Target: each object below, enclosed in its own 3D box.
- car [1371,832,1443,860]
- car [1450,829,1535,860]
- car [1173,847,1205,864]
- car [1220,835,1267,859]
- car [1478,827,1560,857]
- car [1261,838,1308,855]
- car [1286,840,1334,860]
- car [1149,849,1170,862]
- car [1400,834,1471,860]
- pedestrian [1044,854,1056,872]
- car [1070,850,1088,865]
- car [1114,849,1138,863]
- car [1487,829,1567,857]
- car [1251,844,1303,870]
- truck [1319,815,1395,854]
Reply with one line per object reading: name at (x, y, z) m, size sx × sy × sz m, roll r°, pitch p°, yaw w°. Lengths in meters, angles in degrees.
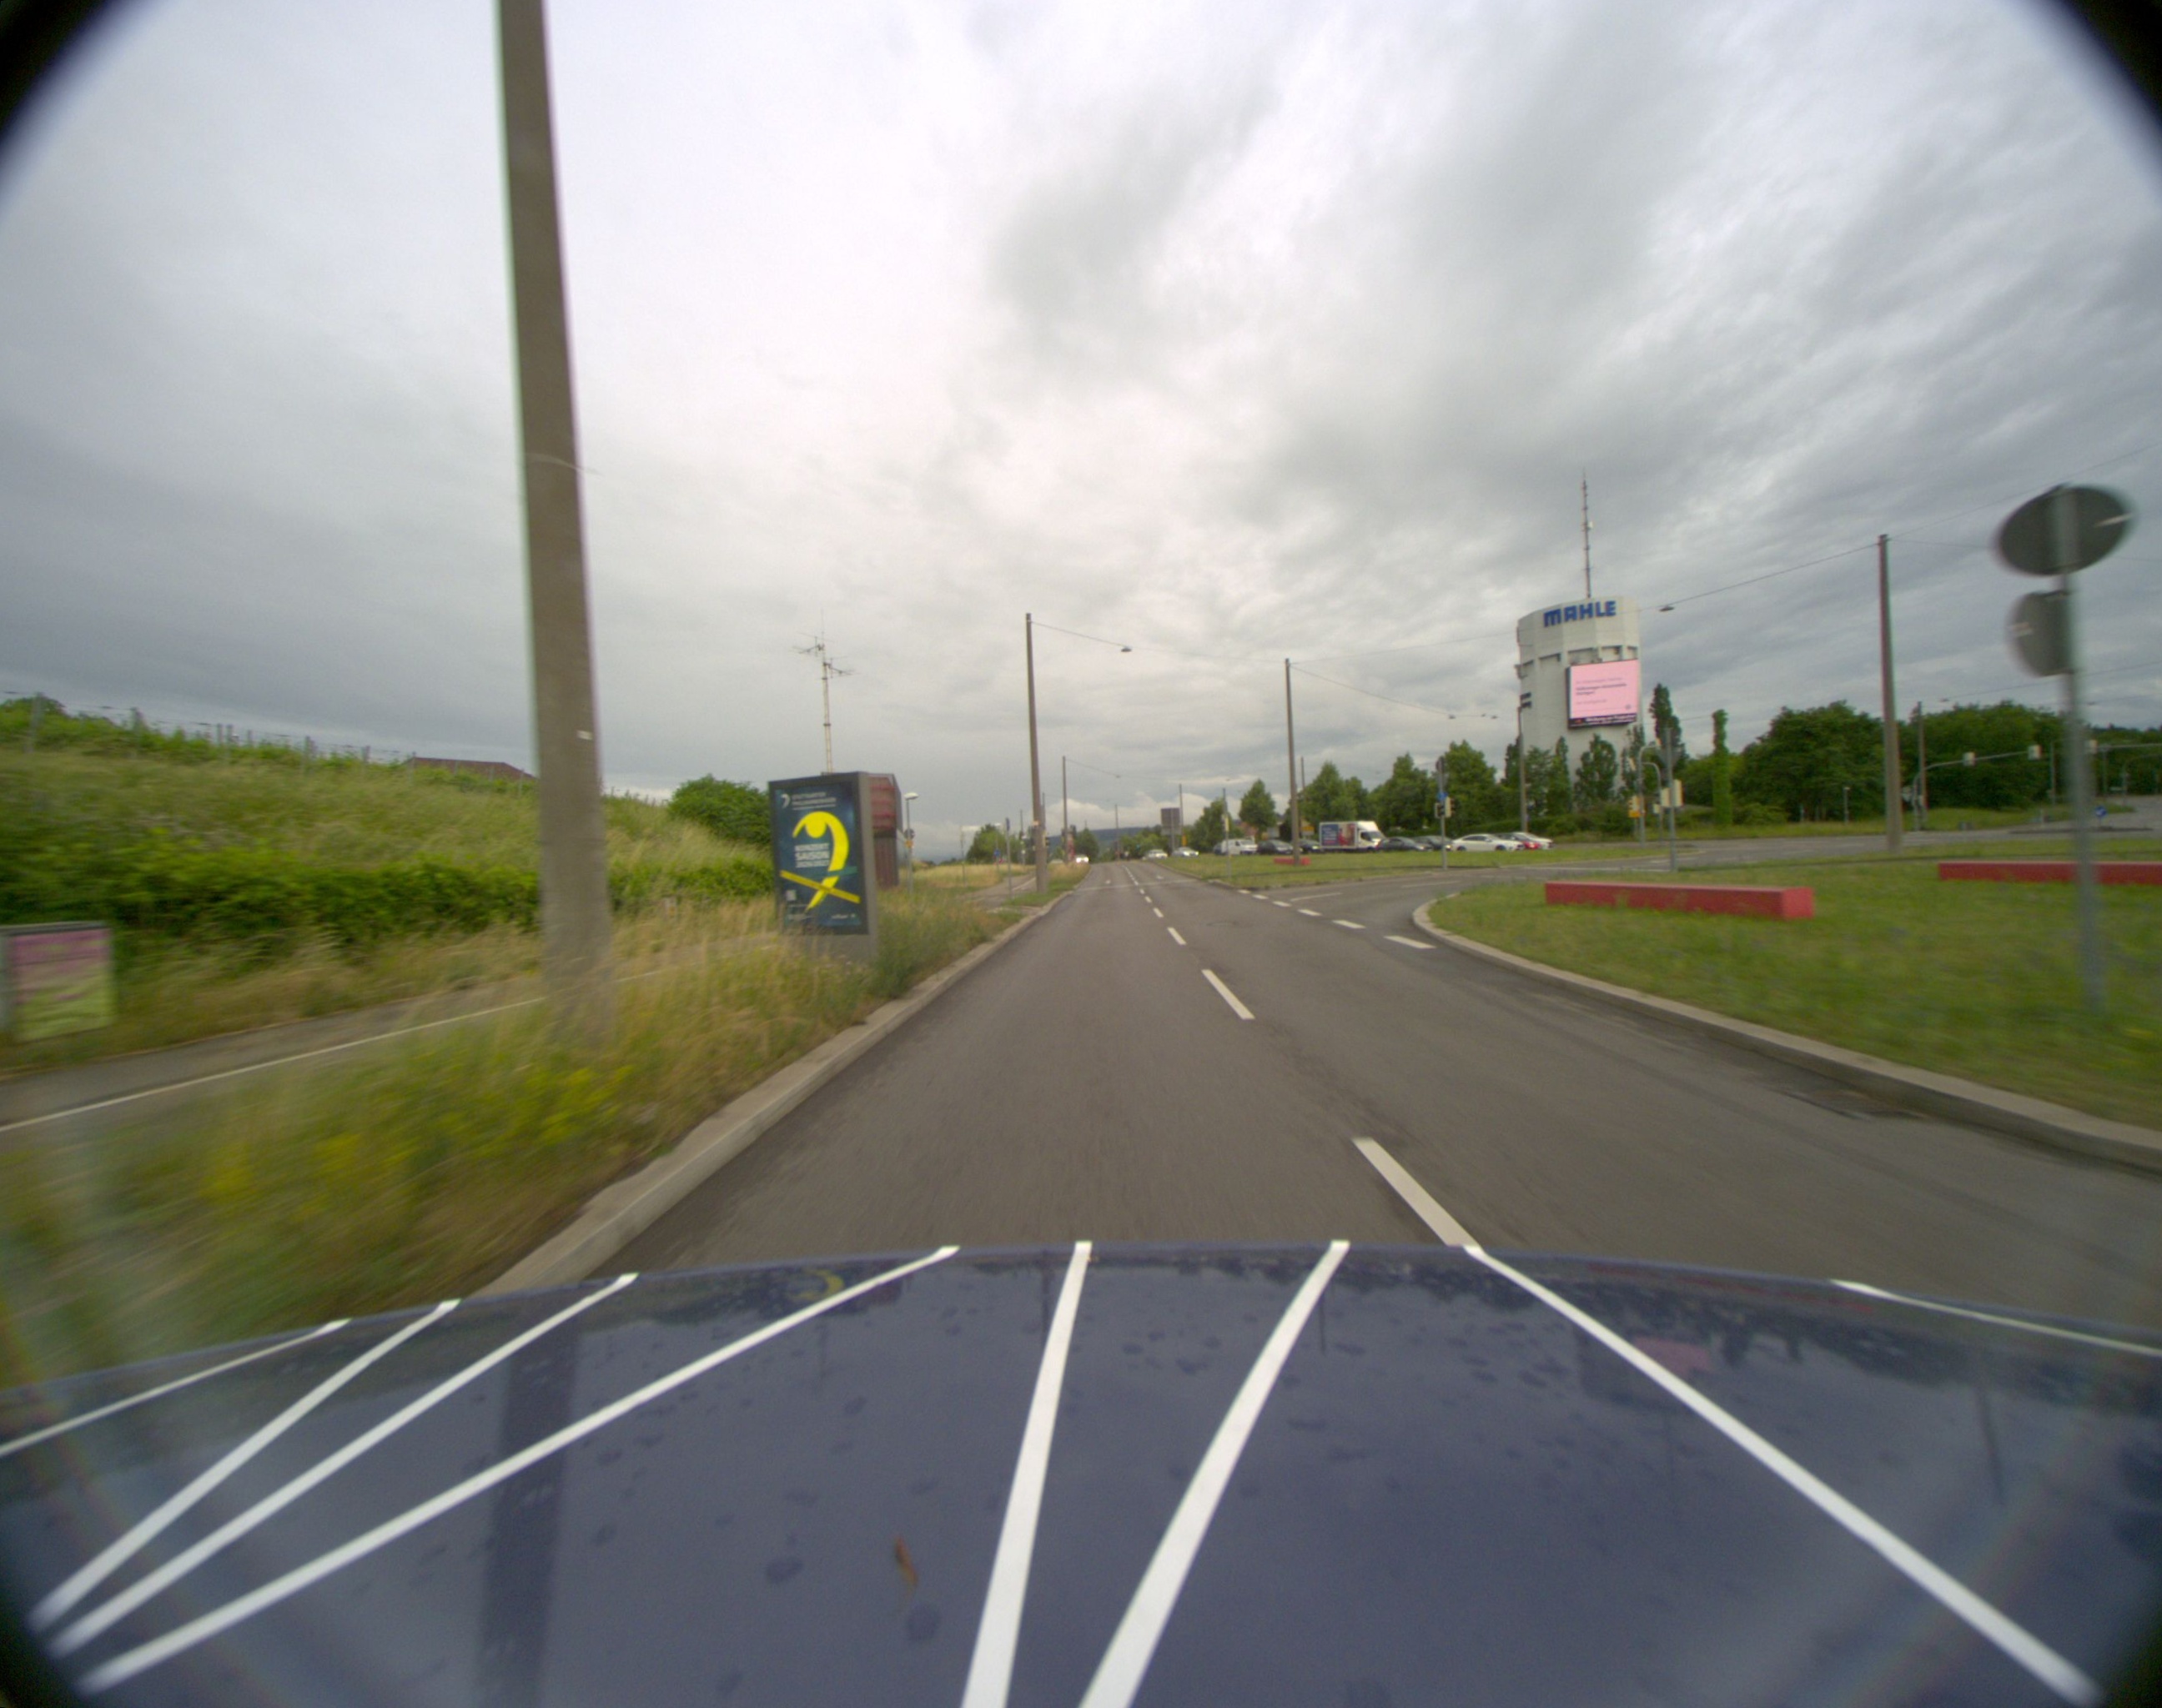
car at (23.924, -0.574, 55.974) m, size 2.002 × 1.673 × 4.512 m, roll -6°, pitch 1°, yaw -28°
car at (27.666, -0.636, 51.215) m, size 2.003 × 1.673 × 4.511 m, roll -6°, pitch 1°, yaw -34°
car at (13.202, 0.211, 93.165) m, size 2.000 × 1.790 × 5.165 m, roll -5°, pitch 0°, yaw -12°
car at (17.157, -0.717, 80.350) m, size 2.376 × 2.168 × 5.301 m, roll -6°, pitch 0°, yaw -18°
car at (30.746, -0.827, 53.468) m, size 2.003 × 1.673 × 4.510 m, roll -6°, pitch 1°, yaw -38°
car at (19.636, -0.698, 73.434) m, size 2.001 × 1.303 × 4.524 m, roll -6°, pitch 0°, yaw -21°
car at (22.414, -0.361, 74.456) m, size 2.001 × 1.673 × 4.514 m, roll -6°, pitch 0°, yaw -21°
car at (12.487, 0.290, 120.852) m, size 2.001 × 1.772 × 3.995 m, roll -5°, pitch 0°, yaw -14°
car at (27.158, -0.500, 58.370) m, size 2.002 × 1.673 × 4.511 m, roll -6°, pitch 1°, yaw -30°
pedestrian at (-3.060, 0.868, 74.933) m, size 0.800 × 1.713 × 0.988 m, roll -6°, pitch 1°, yaw -13°
car at (-0.329, 0.517, 112.031) m, size 2.000 × 2.002 × 3.997 m, roll -5°, pitch 0°, yaw -9°
car at (6.418, 0.271, 109.906) m, size 2.000 × 1.790 × 5.165 m, roll -5°, pitch 0°, yaw -12°
car at (32.586, -0.783, 55.635) m, size 2.003 × 1.673 × 4.510 m, roll -6°, pitch 1°, yaw -37°
car at (17.722, 0.311, 68.932) m, size 2.001 × 2.168 × 5.163 m, roll -6°, pitch 0°, yaw -18°
truck at (23.470, -1.580, 64.927) m, size 2.133 × 2.818 × 6.019 m, roll -6°, pitch 1°, yaw -29°
